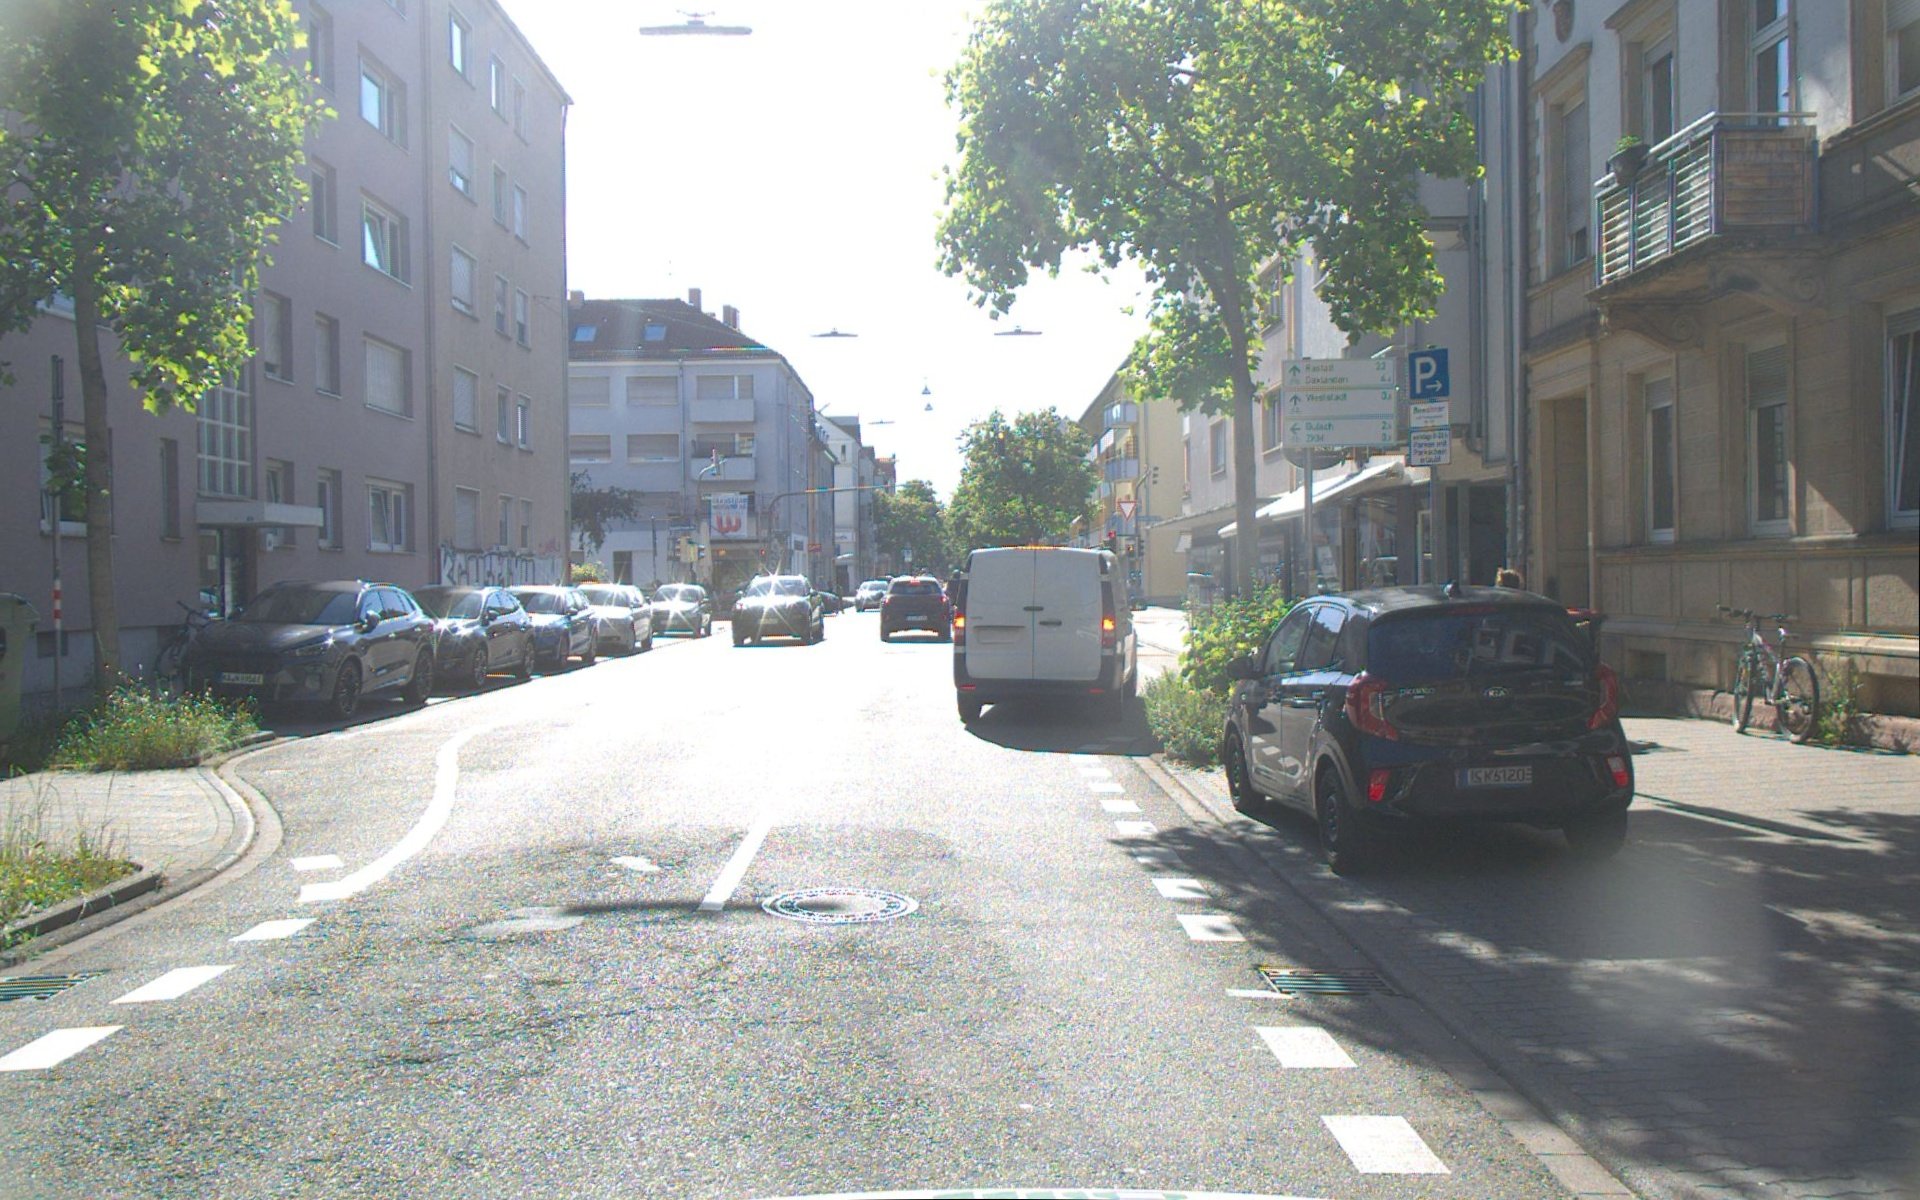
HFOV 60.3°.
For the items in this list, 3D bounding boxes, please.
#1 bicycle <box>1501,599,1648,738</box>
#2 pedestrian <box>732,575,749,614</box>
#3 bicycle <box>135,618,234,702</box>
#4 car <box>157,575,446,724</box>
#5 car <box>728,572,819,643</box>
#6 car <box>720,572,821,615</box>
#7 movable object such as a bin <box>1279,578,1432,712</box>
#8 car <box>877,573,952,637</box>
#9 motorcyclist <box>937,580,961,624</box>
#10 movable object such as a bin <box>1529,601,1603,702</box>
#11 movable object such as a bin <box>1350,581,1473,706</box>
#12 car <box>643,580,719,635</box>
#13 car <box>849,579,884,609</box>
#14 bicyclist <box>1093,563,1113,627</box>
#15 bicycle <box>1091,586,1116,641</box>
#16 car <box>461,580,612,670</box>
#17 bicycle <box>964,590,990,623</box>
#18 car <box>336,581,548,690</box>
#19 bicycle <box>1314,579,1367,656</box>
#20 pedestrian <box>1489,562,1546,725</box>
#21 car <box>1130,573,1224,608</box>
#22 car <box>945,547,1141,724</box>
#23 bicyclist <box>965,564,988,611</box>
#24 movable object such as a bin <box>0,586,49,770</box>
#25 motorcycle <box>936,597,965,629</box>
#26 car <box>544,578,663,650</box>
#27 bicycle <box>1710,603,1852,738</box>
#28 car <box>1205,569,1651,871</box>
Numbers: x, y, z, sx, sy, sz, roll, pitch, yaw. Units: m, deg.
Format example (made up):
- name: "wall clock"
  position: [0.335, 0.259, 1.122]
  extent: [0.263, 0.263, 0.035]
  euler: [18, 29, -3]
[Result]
- name: "bicycle"
  position: [5.643, 0.593, 15.323]
  extent: [0.525, 1.169, 2.123]
  euler: [-1, 1, -1]
- name: "pedestrian"
  position: [-9.804, -0.252, 74.018]
  extent: [0.670, 1.692, 0.601]
  euler: [-1, 0, -2]
- name: "bicycle"
  position: [-11.155, 0.841, 23.863]
  extent: [0.543, 1.121, 1.903]
  euler: [-1, 1, -1]
- name: "car"
  position: [-8.051, 0.535, 20.699]
  extent: [1.838, 1.634, 4.365]
  euler: [1, 1, 0]
- name: "car"
  position: [-4.591, 0.160, 41.279]
  extent: [1.829, 1.642, 4.426]
  euler: [-1, 1, -1]
- name: "car"
  position: [-7.533, -0.268, 65.964]
  extent: [3.908, 1.668, 1.998]
  euler: [0, 0, -4]
- name: "movable object such as a bin"
  position: [4.297, 0.466, 17.964]
  extent: [1.261, 1.371, 1.091]
  euler: [-2, 1, -43]
- name: "car"
  position: [-1.171, 0.099, 42.004]
  extent: [1.807, 1.534, 3.999]
  euler: [-1, 1, -2]
- name: "motorcyclist"
  position: [-0.320, 0.057, 47.699]
  extent: [0.645, 1.248, 0.694]
  euler: [-1, 0, -2]
- name: "movable object such as a bin"
  position: [6.564, 0.549, 17.923]
  extent: [0.586, 1.060, 0.546]
  euler: [-1, 0, -2]
- name: "movable object such as a bin"
  position: [5.192, 0.469, 19.012]
  extent: [1.021, 1.371, 1.104]
  euler: [0, 1, 38]
- name: "car"
  position: [-8.071, 0.198, 48.125]
  extent: [1.620, 1.505, 3.999]
  euler: [1, 1, -2]
- name: "car"
  position: [-4.606, -0.316, 81.918]
  extent: [1.585, 1.422, 3.731]
  euler: [0, 0, -1]
- name: "bicyclist"
  position: [3.458, -0.116, 40.023]
  extent: [0.430, 1.535, 0.496]
  euler: [-1, 0, -1]
- name: "bicycle"
  position: [3.500, 0.317, 40.304]
  extent: [0.465, 1.296, 1.218]
  euler: [-1, 1, -1]
- name: "car"
  position: [-7.958, 0.412, 31.505]
  extent: [1.686, 1.523, 4.625]
  euler: [2, 1, -1]
- name: "bicycle"
  position: [0.529, 0.198, 52.852]
  extent: [0.759, 1.009, 1.717]
  euler: [-1, 1, -2]
- name: "car"
  position: [-8.136, 0.499, 26.418]
  extent: [1.952, 1.523, 4.229]
  euler: [2, 1, 1]
- name: "bicycle"
  position: [6.556, 0.283, 28.593]
  extent: [0.536, 1.291, 1.884]
  euler: [-1, 1, 2]
- name: "pedestrian"
  position: [5.230, 0.400, 15.528]
  extent: [0.360, 1.495, 0.389]
  euler: [-2, 0, -2]
- name: "car"
  position: [8.921, -0.394, 68.115]
  extent: [3.636, 1.326, 1.690]
  euler: [-1, 0, -1]
- name: "car"
  position: [1.114, 0.345, 19.699]
  extent: [1.942, 1.854, 4.550]
  euler: [0, 1, 8]
- name: "bicyclist"
  position: [0.532, -0.393, 53.069]
  extent: [0.670, 1.474, 0.940]
  euler: [0, 0, -2]
- name: "movable object such as a bin"
  position: [-8.329, 0.634, 13.434]
  extent: [1.204, 1.475, 1.077]
  euler: [-1, 0, 7]
- name: "motorcycle"
  position: [-0.284, 0.375, 48.059]
  extent: [0.791, 0.878, 1.822]
  euler: [-1, 1, -2]
- name: "car"
  position: [-8.070, 0.275, 37.839]
  extent: [1.741, 1.495, 4.758]
  euler: [2, 1, -1]
- name: "bicycle"
  position: [7.020, 0.576, 14.203]
  extent: [0.424, 1.048, 1.428]
  euler: [-4, 1, -1]
- name: "car"
  position: [2.663, 0.591, 10.241]
  extent: [1.603, 1.501, 3.579]
  euler: [-1, 1, -2]
